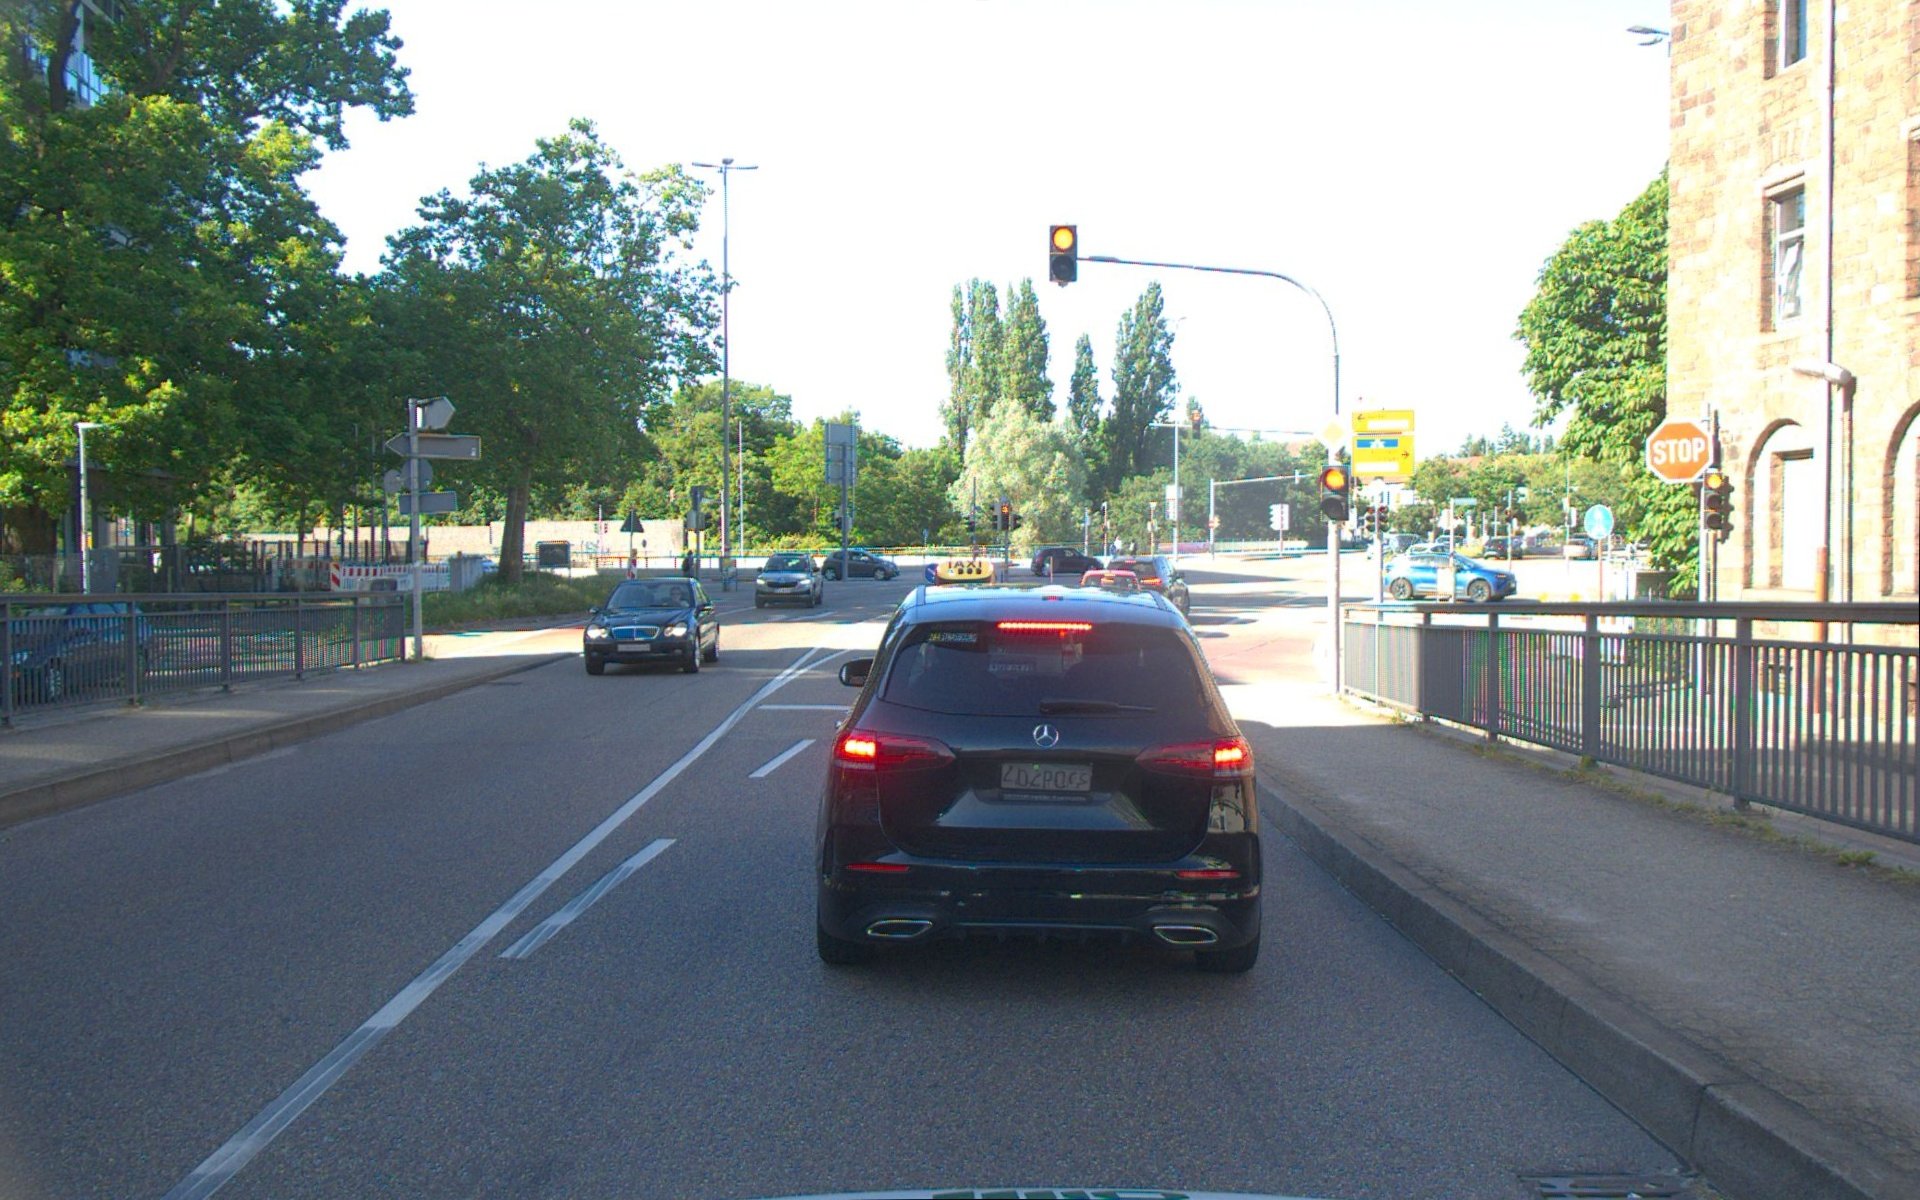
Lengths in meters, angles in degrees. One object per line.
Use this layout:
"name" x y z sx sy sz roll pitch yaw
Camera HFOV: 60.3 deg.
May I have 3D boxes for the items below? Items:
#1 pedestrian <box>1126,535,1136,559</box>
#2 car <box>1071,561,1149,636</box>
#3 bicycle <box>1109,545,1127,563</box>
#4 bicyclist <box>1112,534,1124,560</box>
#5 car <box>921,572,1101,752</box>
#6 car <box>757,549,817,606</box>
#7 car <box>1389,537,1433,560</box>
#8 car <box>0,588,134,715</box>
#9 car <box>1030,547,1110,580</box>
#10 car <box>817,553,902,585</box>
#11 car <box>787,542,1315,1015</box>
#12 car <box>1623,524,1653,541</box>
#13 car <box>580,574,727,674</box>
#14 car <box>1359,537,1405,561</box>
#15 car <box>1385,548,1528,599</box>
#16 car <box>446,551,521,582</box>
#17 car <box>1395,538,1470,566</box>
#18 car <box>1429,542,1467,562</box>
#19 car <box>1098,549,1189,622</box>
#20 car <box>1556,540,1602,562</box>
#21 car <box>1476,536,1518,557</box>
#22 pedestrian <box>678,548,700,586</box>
"pedestrian" 11.423 -3.537 110.574 0.443 1.613 0.499 0 2 40
"car" 3.569 -0.077 38.982 1.685 1.548 3.490 0 3 8
"bicycle" 9.894 -2.870 103.628 0.515 1.068 1.989 -1 2 23
"bicyclist" 9.894 -3.313 103.607 0.515 1.578 0.807 -1 1 23
"car" 0.507 0.535 16.718 1.606 1.556 3.475 -1 2 1
"car" -5.368 -0.727 51.742 1.769 1.651 3.997 0 3 -5
"car" 32.821 -3.736 120.373 1.846 1.605 3.987 1 2 35
"car" -14.774 0.728 25.791 1.814 1.722 4.000 0 2 -1
"car" 5.692 -1.865 85.824 3.910 1.574 1.888 1 0 -7
"car" -4.937 -1.527 81.452 3.902 1.524 1.746 0 0 8
"car" 0.295 0.606 7.828 1.839 1.641 4.000 1 1 -1
"car" 59.952 -5.988 146.255 1.750 1.381 4.068 0 3 33
"car" -4.861 0.326 26.717 1.706 1.431 4.200 -1 1 -2
"car" 29.419 -3.549 115.164 1.846 1.605 3.987 1 2 35
"car" 16.889 -0.939 56.342 4.318 1.619 1.914 2 3 38
"car" -26.372 -1.838 91.459 3.916 1.658 1.886 1 2 33
"car" 26.163 -2.670 91.490 4.274 1.389 1.972 -3 3 -39
"car" 40.081 -3.980 135.927 1.846 1.605 3.987 1 2 35
"car" 5.055 -0.443 45.073 1.685 1.843 4.301 0 2 17
"car" 42.024 -3.331 112.166 1.958 1.317 4.582 0 3 33
"car" 36.258 -3.620 111.565 1.845 1.317 4.588 0 3 29
"pedestrian" -11.123 -1.362 67.834 0.690 1.552 0.744 1 1 10
